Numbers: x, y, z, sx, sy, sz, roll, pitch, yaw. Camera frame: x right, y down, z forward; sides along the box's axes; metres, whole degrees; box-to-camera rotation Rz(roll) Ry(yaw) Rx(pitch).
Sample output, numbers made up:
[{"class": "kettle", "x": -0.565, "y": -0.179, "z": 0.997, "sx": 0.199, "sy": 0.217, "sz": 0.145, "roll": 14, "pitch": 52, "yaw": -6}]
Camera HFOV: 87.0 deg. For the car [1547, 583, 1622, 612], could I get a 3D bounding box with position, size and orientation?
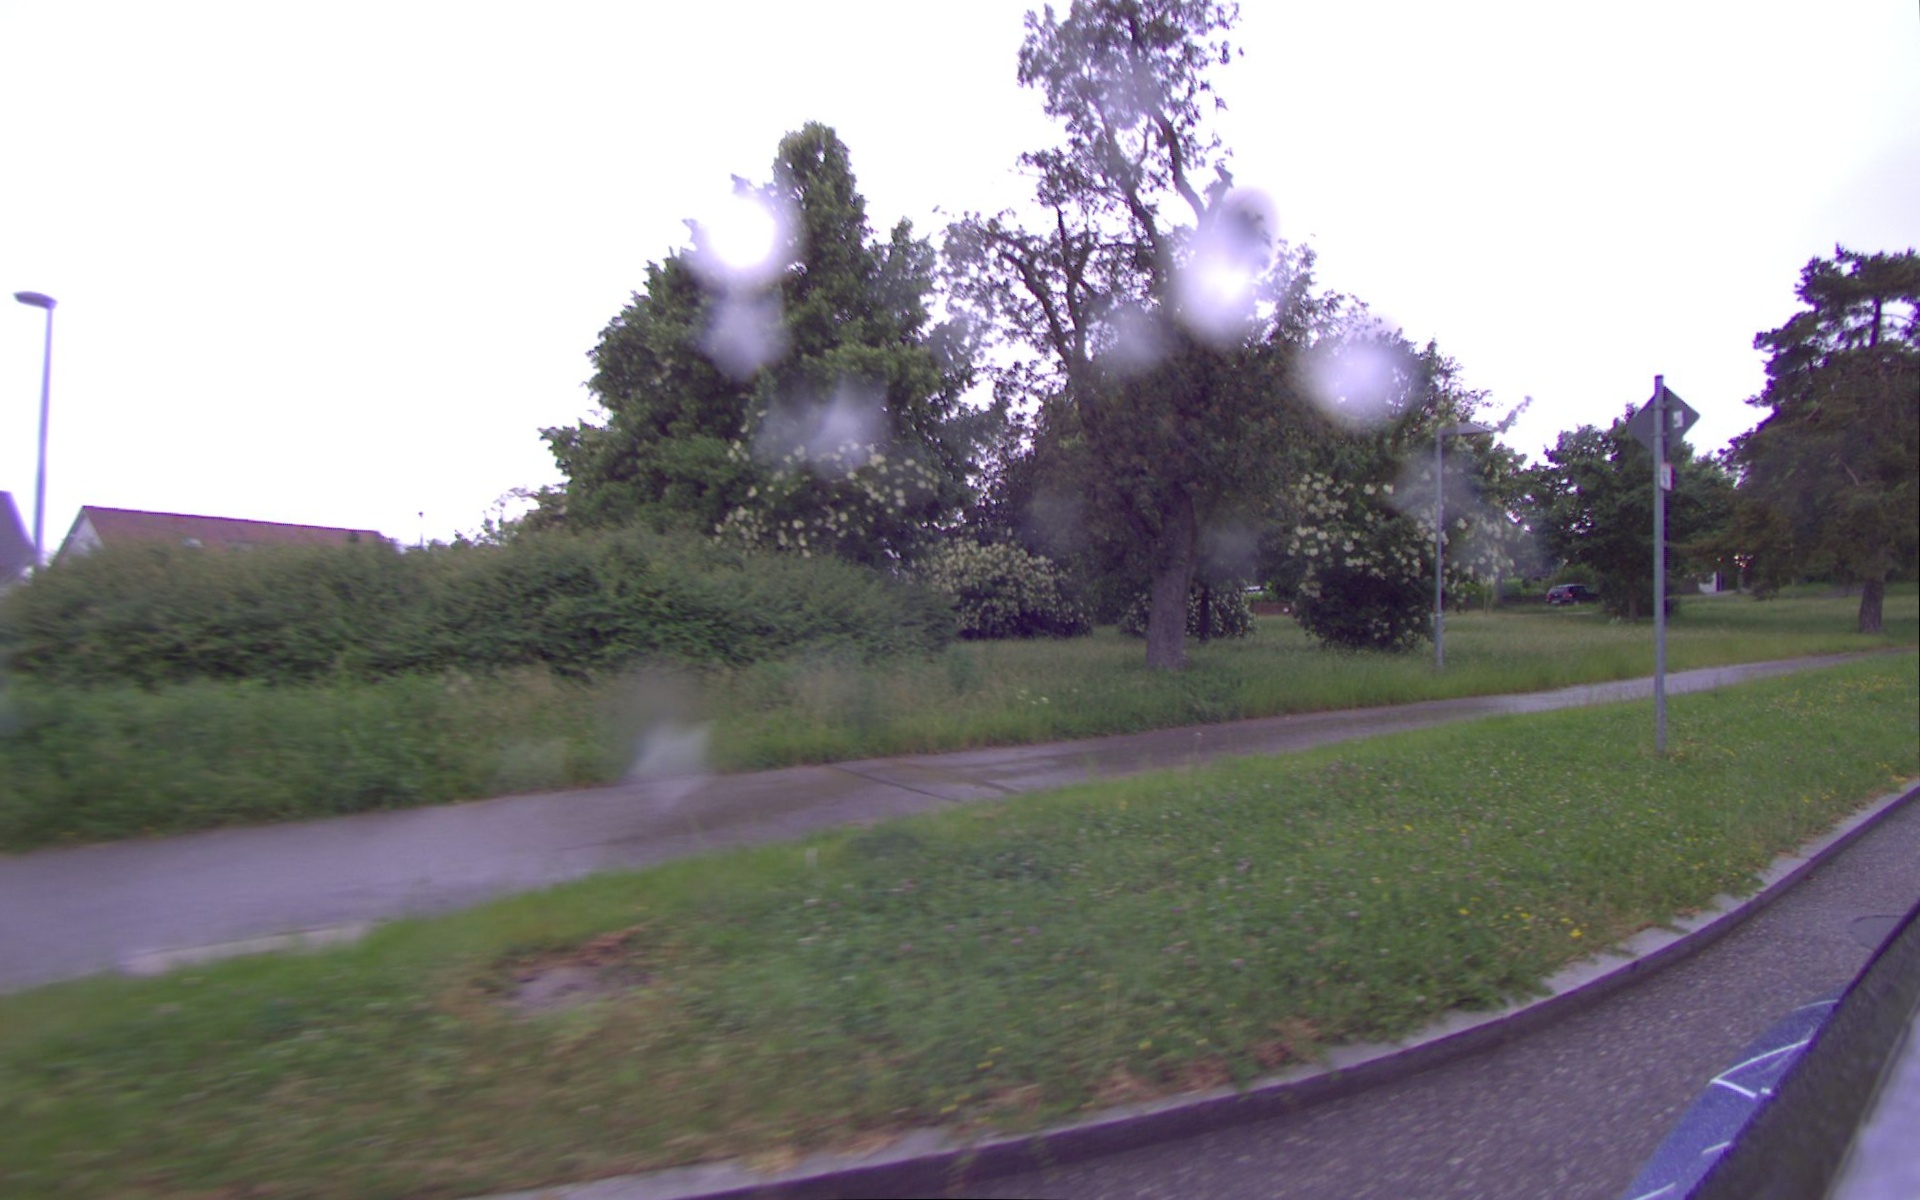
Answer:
[{"class": "car", "x": 38.189, "y": -0.166, "z": 61.913, "sx": 3.916, "sy": 1.673, "sz": 1.835, "roll": -1, "pitch": 0, "yaw": -19}]
